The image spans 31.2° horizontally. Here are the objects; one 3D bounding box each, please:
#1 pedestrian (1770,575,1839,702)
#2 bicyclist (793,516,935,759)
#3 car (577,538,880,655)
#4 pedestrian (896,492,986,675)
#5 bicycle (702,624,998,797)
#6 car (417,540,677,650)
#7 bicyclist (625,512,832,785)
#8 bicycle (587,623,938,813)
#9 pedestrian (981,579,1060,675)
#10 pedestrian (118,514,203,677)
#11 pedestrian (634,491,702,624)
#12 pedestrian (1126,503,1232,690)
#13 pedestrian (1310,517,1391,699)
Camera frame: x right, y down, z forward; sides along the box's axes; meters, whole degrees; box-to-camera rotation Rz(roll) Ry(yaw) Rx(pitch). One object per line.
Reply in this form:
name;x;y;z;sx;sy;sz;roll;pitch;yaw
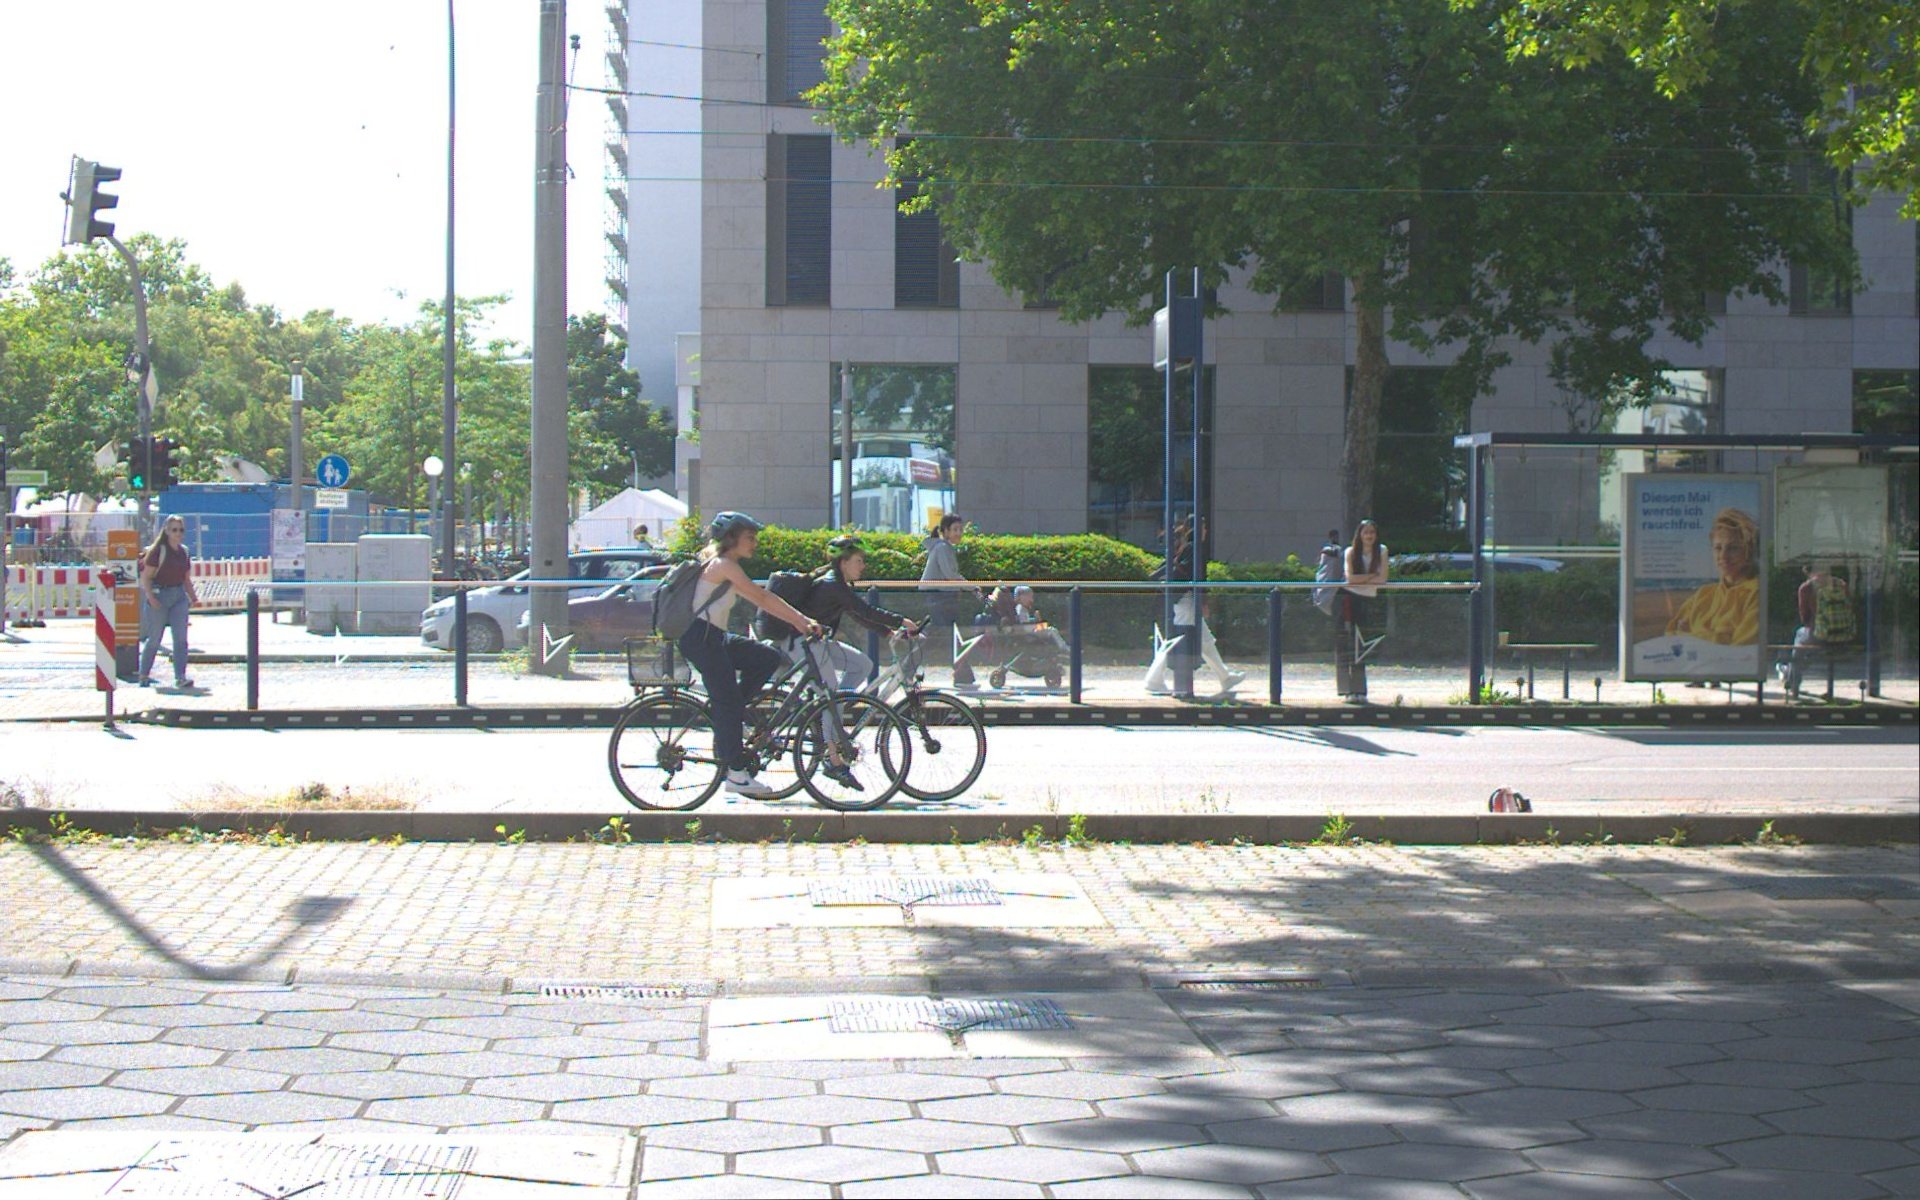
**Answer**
pedestrian;7.647;0.343;31.131;0.499;1.134;0.524;1;1;3
bicyclist;-0.621;0.236;22.074;0.862;1.538;0.535;1;0;-5
car;-3.190;-0.053;47.028;3.986;1.546;1.704;0;1;-9
pedestrian;-0.171;-0.158;31.901;0.777;1.677;0.503;1;1;6
bicycle;-0.714;0.703;22.035;1.861;1.078;0.525;0;1;-4
car;-6.016;-0.079;49.913;3.681;1.546;1.592;0;1;-9
bicyclist;-1.366;0.279;20.201;1.169;1.575;0.640;0;1;-7
bicycle;-1.172;0.687;20.224;2.019;1.078;0.640;0;1;-7
pedestrian;0.566;0.246;31.835;0.690;0.877;0.503;1;1;5
pedestrian;-7.577;-0.048;32.591;0.650;1.535;0.503;1;1;6
pedestrian;-4.978;-0.732;58.671;1.108;2.240;1.103;0;1;-3
pedestrian;1.996;-0.034;31.238;0.932;1.677;0.503;1;1;6
pedestrian;3.484;0.063;30.732;0.584;1.586;0.670;0;3;-4
